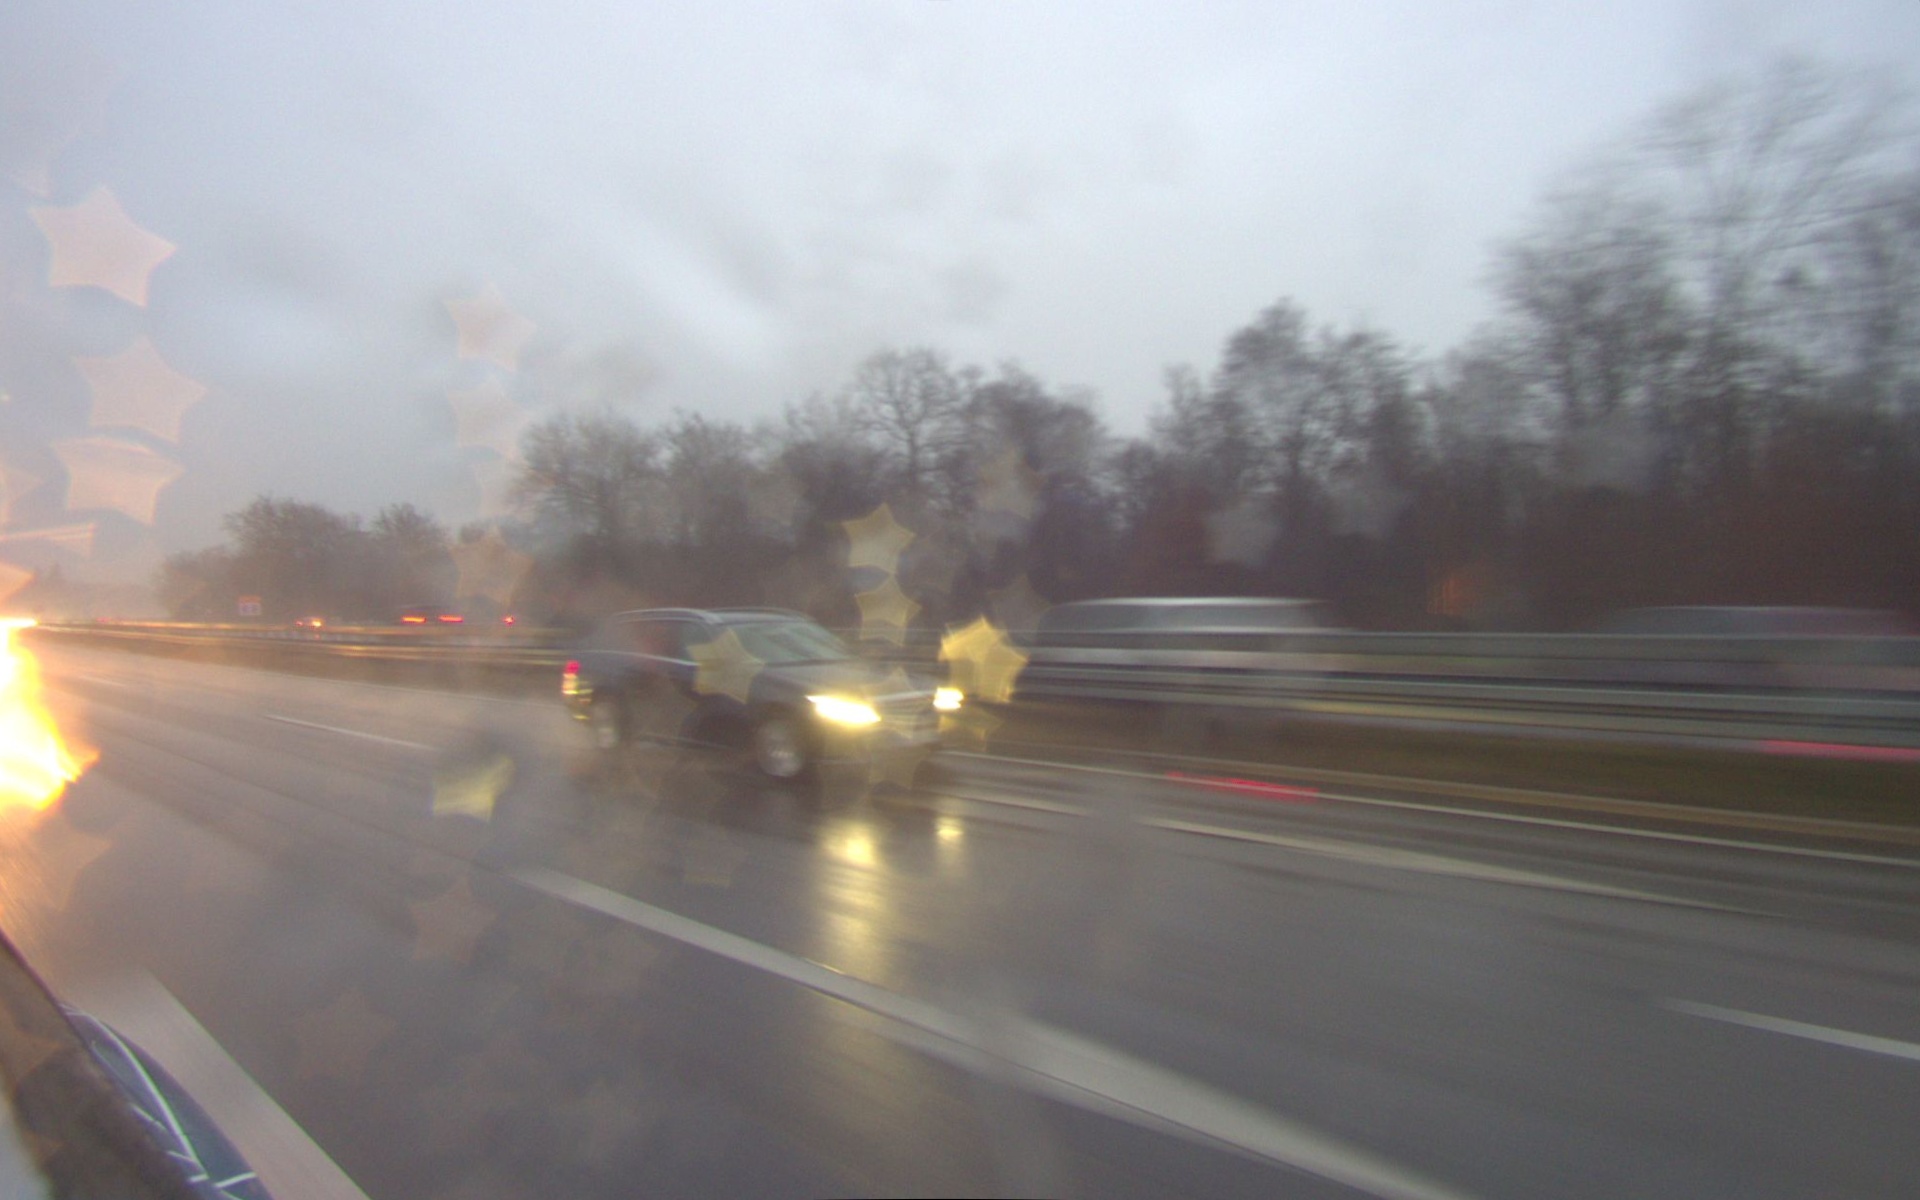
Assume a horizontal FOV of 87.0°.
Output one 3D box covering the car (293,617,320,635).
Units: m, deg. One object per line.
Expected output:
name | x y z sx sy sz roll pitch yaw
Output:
car | -59.896 2.357 92.848 1.719 1.498 4.013 -2 0 -28

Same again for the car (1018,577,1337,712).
car | 3.185 0.559 15.338 4.379 1.696 1.856 0 3 41

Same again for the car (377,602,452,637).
car | -23.486 0.802 43.505 3.841 1.386 1.558 1 2 41

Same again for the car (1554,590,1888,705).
car | 12.273 0.700 16.541 4.202 1.647 1.665 0 -1 42

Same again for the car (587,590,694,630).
car | -12.107 0.333 38.191 4.781 1.386 1.558 1 2 41

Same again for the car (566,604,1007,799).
car | -1.842 0.832 9.807 4.409 1.479 1.780 -2 -2 40
